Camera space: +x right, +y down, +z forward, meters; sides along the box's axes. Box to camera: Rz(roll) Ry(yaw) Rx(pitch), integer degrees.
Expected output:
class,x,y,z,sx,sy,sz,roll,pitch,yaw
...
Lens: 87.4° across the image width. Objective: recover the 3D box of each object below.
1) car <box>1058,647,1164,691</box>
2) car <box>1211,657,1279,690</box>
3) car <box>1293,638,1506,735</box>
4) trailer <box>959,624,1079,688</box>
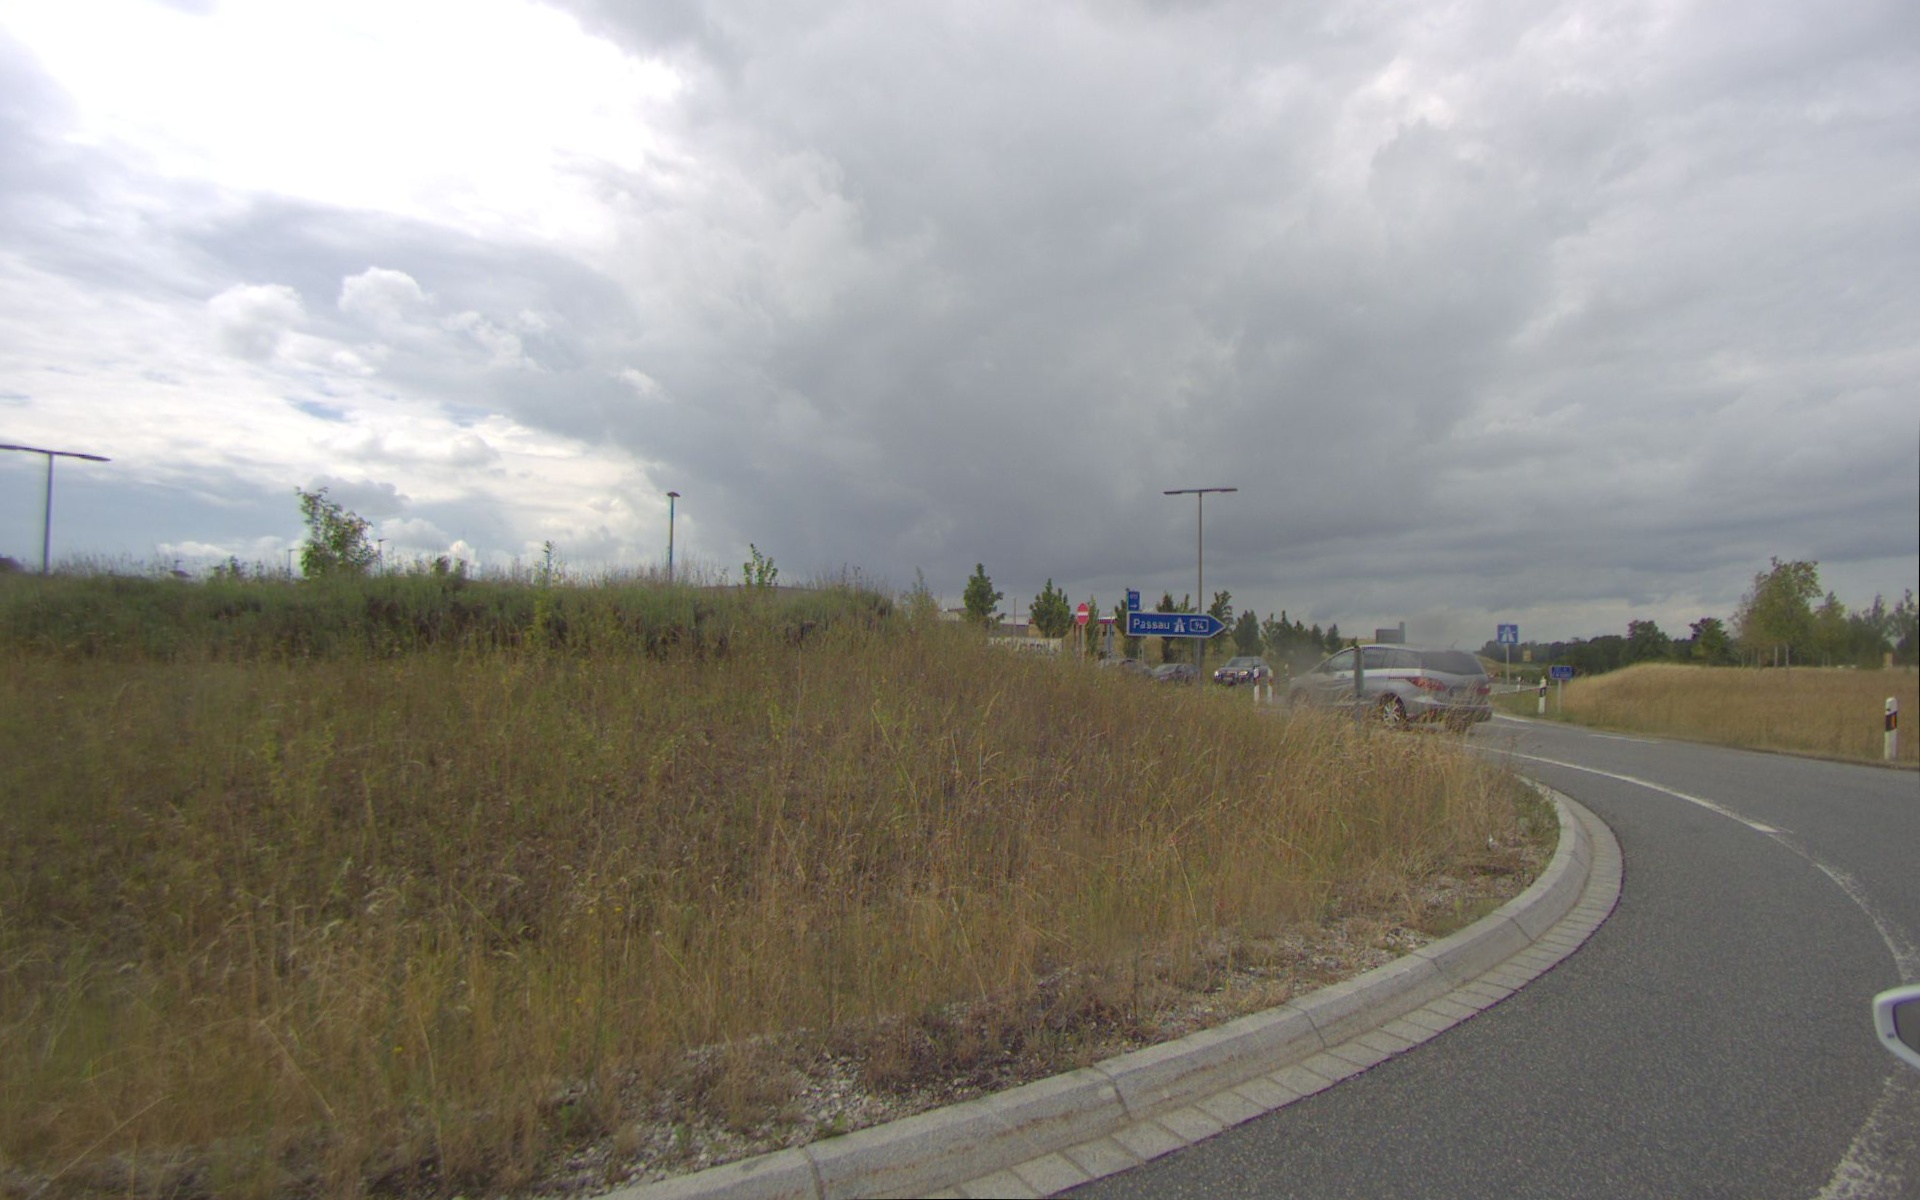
class,x,y,z,sx,sy,sz,roll,pitch,yaw
car,6.400,2.921,42.192,4.560,1.705,1.976,5,-6,-42
car,14.406,3.706,50.612,1.709,1.511,4.525,1,-3,38
car,8.468,1.617,19.763,1.715,1.619,3.986,2,-2,-15
trailer,2.327,2.183,38.891,4.333,2.212,1.979,5,-3,-37
